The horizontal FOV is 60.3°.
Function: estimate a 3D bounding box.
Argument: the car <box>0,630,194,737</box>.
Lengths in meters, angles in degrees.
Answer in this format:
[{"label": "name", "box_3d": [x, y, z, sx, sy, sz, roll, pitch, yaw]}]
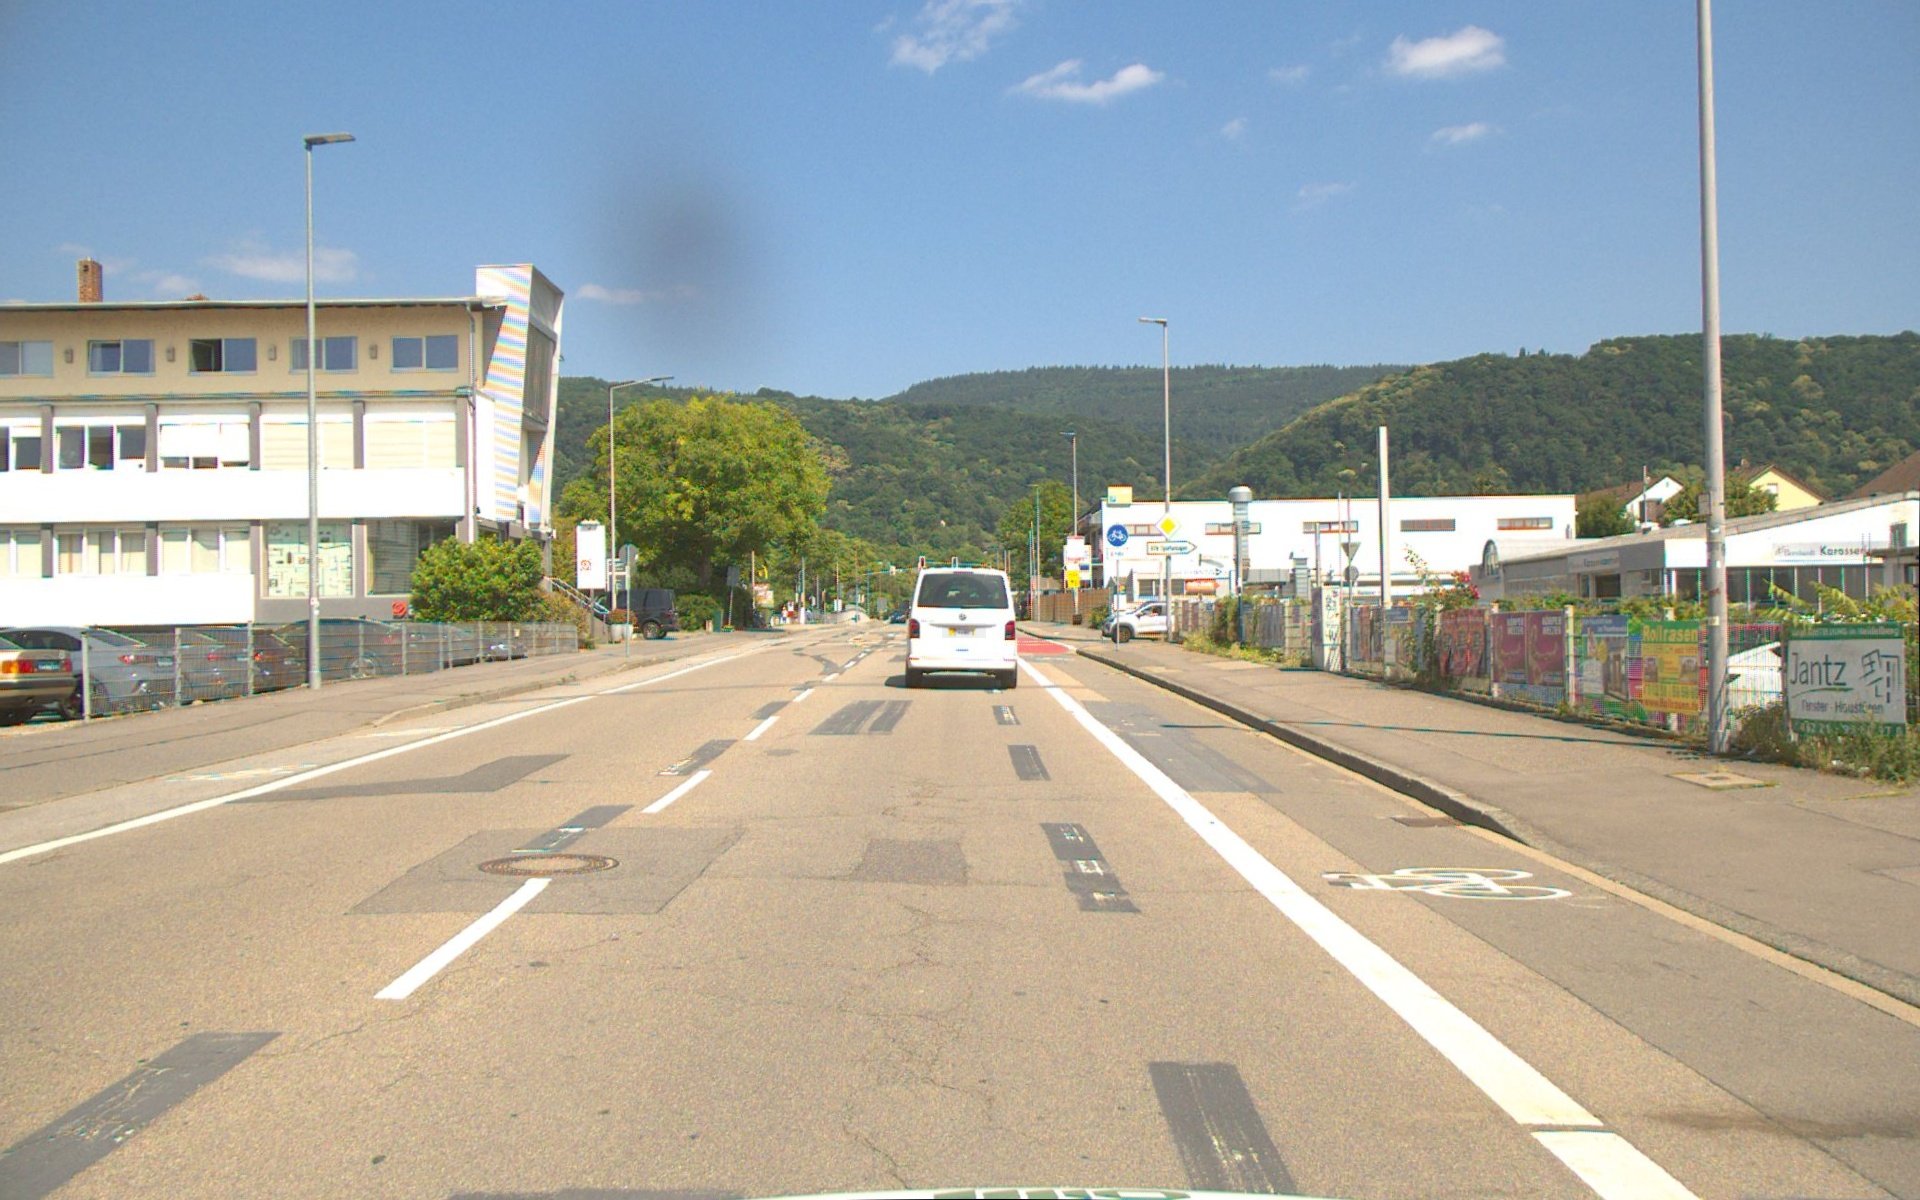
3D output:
[{"label": "car", "box_3d": [-14.083, 1.232, 25.289, 3.809, 1.470, 1.824, 3, -3, 3]}]

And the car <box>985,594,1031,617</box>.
[{"label": "car", "box_3d": [4.174, 0.487, 144.386, 3.903, 1.806, 2.001, -2, -1, 3]}]

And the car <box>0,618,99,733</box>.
[{"label": "car", "box_3d": [-14.492, 1.047, 22.568, 4.433, 1.483, 1.899, -1, 0, -3]}]

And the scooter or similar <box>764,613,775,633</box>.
[{"label": "scooter or similar", "box_3d": [-11.165, 1.361, 96.862, 0.634, 1.147, 1.620, 2, -1, -7]}]

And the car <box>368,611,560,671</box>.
[{"label": "car", "box_3d": [-13.552, 1.113, 45.382, 4.644, 1.507, 2.047, -1, 0, -2]}]

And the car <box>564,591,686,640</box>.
[{"label": "car", "box_3d": [-13.121, 0.606, 64.999, 4.478, 1.898, 2.090, 0, 0, -6]}]

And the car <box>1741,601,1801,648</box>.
[{"label": "car", "box_3d": [31.722, 0.919, 64.617, 1.955, 1.676, 3.994, 1, 1, 28]}]

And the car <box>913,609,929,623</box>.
[{"label": "car", "box_3d": [-4.552, 1.887, 194.095, 1.812, 1.616, 3.999, -2, -1, 0]}]

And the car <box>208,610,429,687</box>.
[{"label": "car", "box_3d": [-14.405, 1.061, 37.328, 4.212, 1.586, 1.993, -1, 0, -5]}]

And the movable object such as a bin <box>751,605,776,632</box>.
[{"label": "movable object such as a bin", "box_3d": [-12.204, 1.171, 102.706, 1.421, 1.618, 1.304, -2, 0, -9]}]

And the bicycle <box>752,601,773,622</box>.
[{"label": "bicycle", "box_3d": [-11.138, 0.675, 93.261, 1.006, 1.137, 2.764, 2, -1, -3]}]

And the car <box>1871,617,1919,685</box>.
[{"label": "car", "box_3d": [22.471, 1.077, 35.901, 4.238, 1.422, 2.120, 0, -1, 3]}]

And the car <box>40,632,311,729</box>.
[{"label": "car", "box_3d": [-14.078, 1.459, 29.884, 3.909, 1.516, 1.857, 3, -3, -4]}]

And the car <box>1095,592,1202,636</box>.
[{"label": "car", "box_3d": [6.591, 0.470, 57.974, 3.589, 1.510, 1.728, 0, 0, 1]}]

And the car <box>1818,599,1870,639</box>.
[{"label": "car", "box_3d": [34.741, 0.759, 65.016, 1.754, 1.490, 3.819, 1, -1, 28]}]

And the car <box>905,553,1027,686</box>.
[{"label": "car", "box_3d": [0.026, 0.329, 28.953, 1.896, 2.096, 4.542, 2, 0, -2]}]

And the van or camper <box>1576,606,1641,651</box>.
[{"label": "van or camper", "box_3d": [25.410, 1.132, 64.723, 1.955, 1.570, 4.225, -6, -4, 26]}]

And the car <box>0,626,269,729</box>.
[{"label": "car", "box_3d": [-13.813, 1.271, 27.356, 3.908, 1.468, 1.858, 3, -3, -3]}]

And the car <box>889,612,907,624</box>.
[{"label": "car", "box_3d": [-7.117, 2.048, 189.756, 1.953, 1.394, 4.325, -2, 0, -2]}]

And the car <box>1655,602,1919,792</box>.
[{"label": "car", "box_3d": [9.162, 0.920, 14.914, 4.957, 1.650, 2.011, 0, -5, 42]}]
